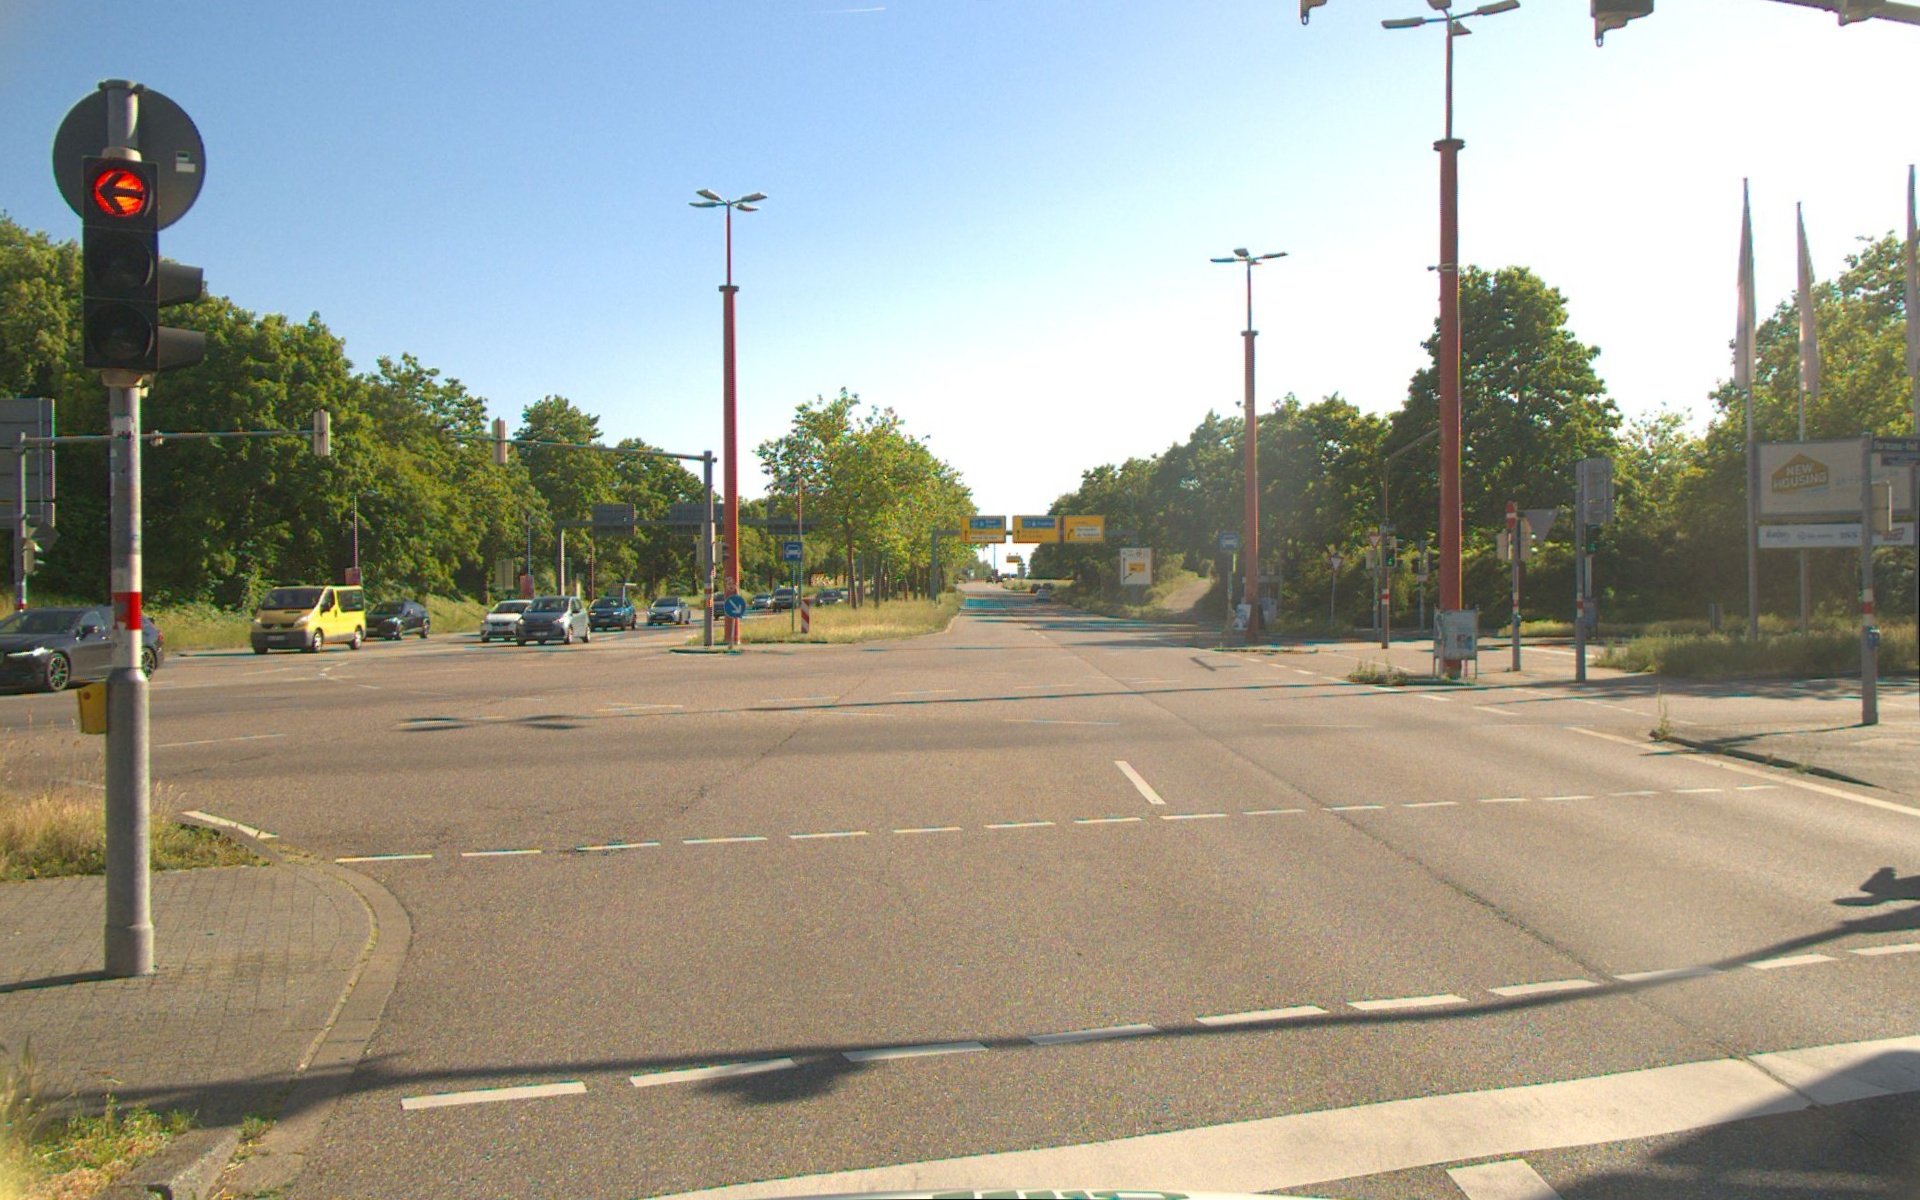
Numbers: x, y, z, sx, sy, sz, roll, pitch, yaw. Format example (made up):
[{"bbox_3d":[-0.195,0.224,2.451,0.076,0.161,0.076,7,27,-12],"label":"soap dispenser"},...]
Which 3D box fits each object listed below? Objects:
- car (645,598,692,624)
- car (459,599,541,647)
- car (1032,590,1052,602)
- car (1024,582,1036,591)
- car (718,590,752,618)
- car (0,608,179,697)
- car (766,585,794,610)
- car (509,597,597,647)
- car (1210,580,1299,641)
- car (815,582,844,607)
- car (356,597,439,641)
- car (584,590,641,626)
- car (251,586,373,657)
[{"bbox_3d":[-15.594,0.578,88.742,1.963,1.330,3.998,0,0,-2],"label":"car"},{"bbox_3d":[-16.224,0.803,58.560,1.668,1.624,4.001,1,0,2],"label":"car"},{"bbox_3d":[9.519,-0.453,192.621,2.012,1.395,4.391,0,0,-1],"label":"car"},{"bbox_3d":[10.621,-2.057,250.398,1.702,1.365,3.082,0,0,1],"label":"car"},{"bbox_3d":[-14.480,0.231,106.710,1.592,1.769,4.001,0,0,1],"label":"car"},{"bbox_3d":[-15.788,0.868,29.272,1.595,1.392,4.797,0,0,1],"label":"car"},{"bbox_3d":[-14.979,-0.188,137.691,1.963,2.049,3.998,1,0,-2],"label":"car"},{"bbox_3d":[-12.693,0.677,51.828,1.666,1.446,4.000,3,0,1],"label":"car"},{"bbox_3d":[9.624,0.313,53.922,1.953,1.920,3.998,0,0,24],"label":"car"},{"bbox_3d":[-9.486,-0.377,120.552,1.622,1.778,4.001,1,0,2],"label":"car"},{"bbox_3d":[-22.597,0.746,66.605,1.953,1.667,4.000,1,0,0],"label":"car"},{"bbox_3d":[-15.712,0.371,74.907,1.668,1.586,3.804,1,0,1],"label":"car"},{"bbox_3d":[-19.449,0.637,49.847,1.721,2.022,4.789,1,0,1],"label":"car"}]
